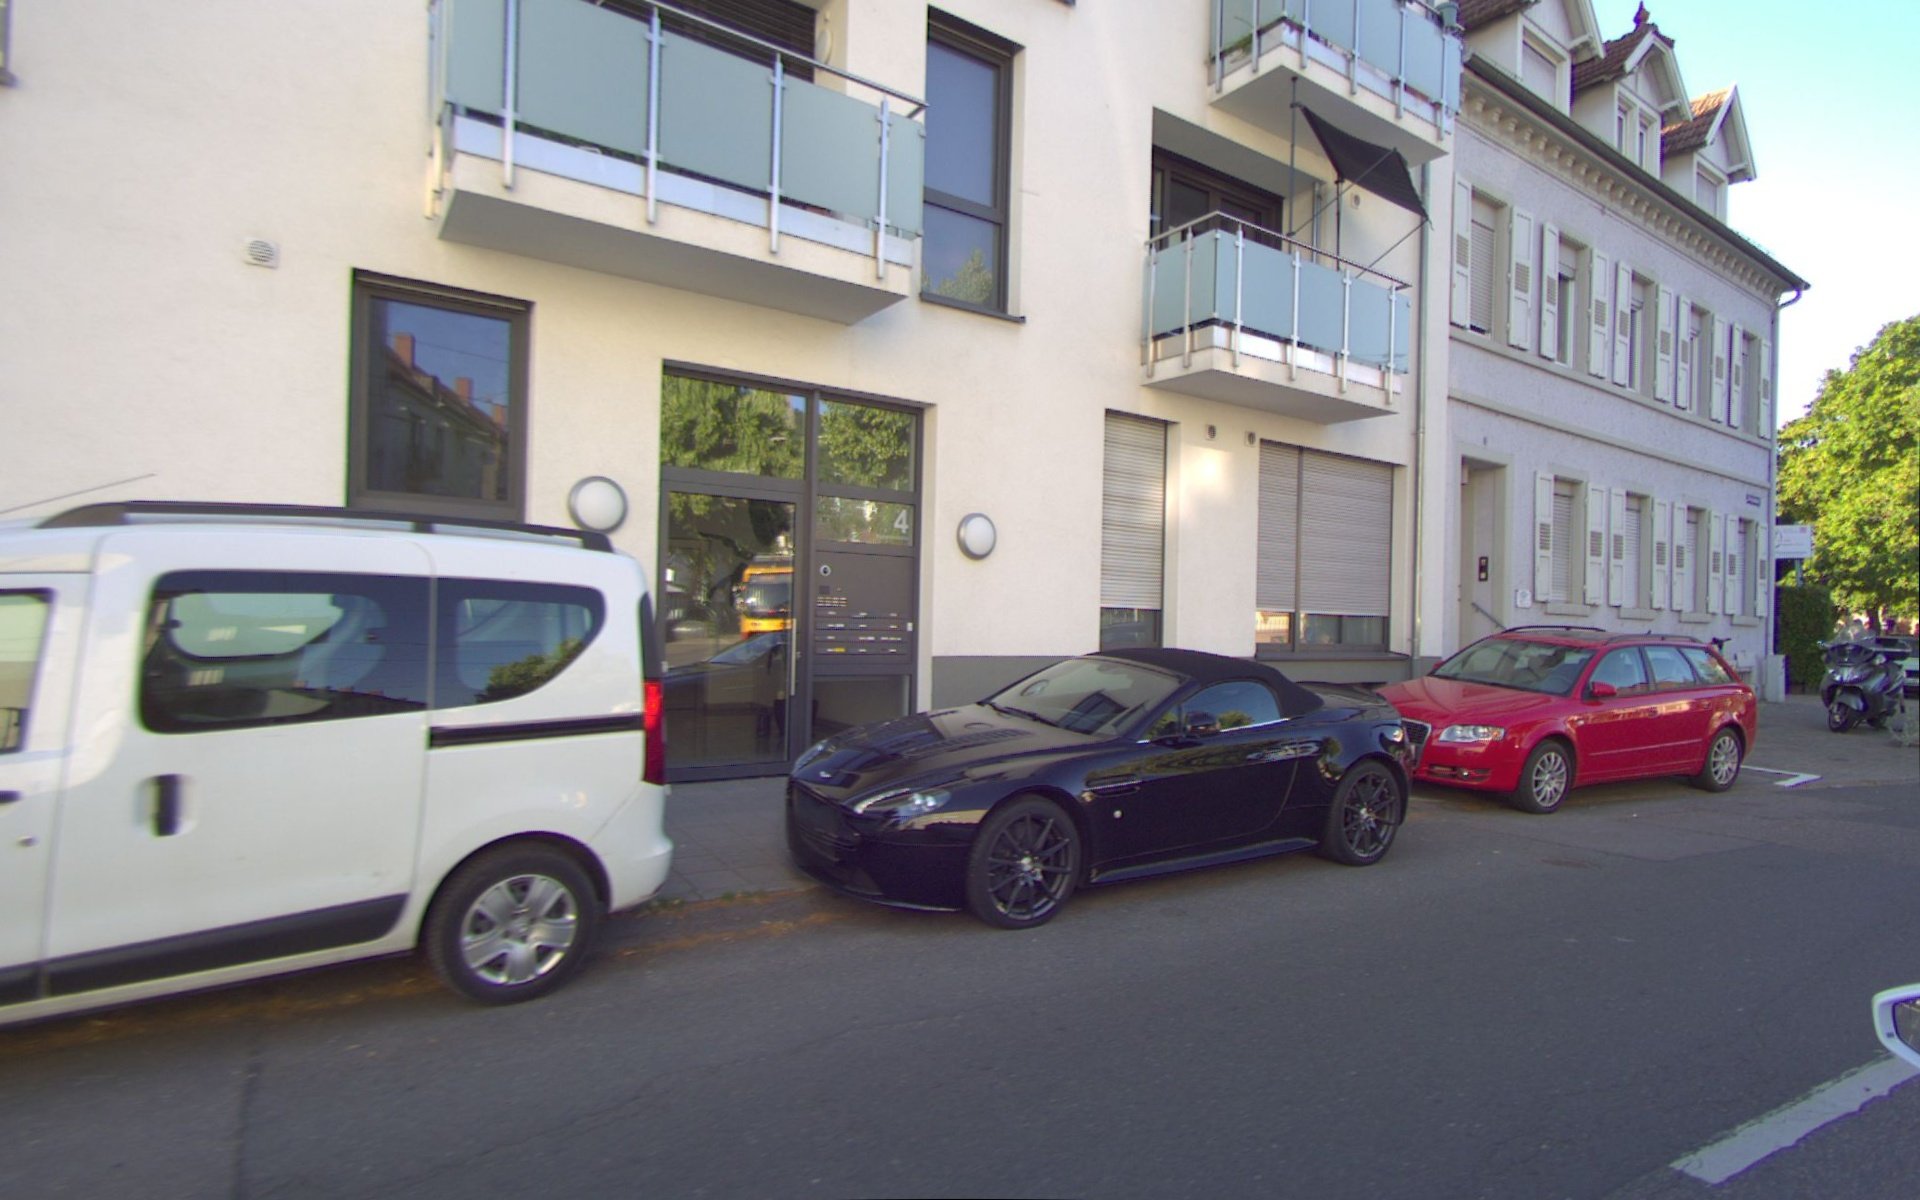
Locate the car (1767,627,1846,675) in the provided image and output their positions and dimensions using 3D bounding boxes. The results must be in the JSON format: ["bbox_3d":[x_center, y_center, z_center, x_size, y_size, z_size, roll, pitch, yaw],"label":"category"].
[{"bbox_3d":[32.981,1.946,39.250,1.909,1.685,4.496,2,0,35],"label":"car"}]

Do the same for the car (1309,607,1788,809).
[{"bbox_3d":[5.632,0.884,9.517,4.532,1.486,1.703,1,1,-27],"label":"car"}]

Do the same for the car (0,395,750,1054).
[{"bbox_3d":[-3.168,0.335,3.687,4.292,1.894,1.798,3,1,-37],"label":"car"}]

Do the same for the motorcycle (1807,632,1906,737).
[{"bbox_3d":[13.242,1.196,14.811,0.921,1.375,2.548,2,0,45],"label":"motorcycle"}]

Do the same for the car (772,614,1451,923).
[{"bbox_3d":[1.042,0.837,6.195,3.981,1.290,1.655,3,1,-31],"label":"car"}]

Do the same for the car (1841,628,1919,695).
[{"bbox_3d":[23.743,1.528,25.292,1.783,1.557,3.899,2,0,34],"label":"car"}]

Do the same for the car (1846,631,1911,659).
[{"bbox_3d":[75.170,3.654,82.294,2.302,2.068,4.928,2,0,22],"label":"car"}]

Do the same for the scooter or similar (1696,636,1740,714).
[{"bbox_3d":[12.905,1.243,17.089,0.502,1.245,1.534,2,0,40],"label":"scooter or similar"}]
